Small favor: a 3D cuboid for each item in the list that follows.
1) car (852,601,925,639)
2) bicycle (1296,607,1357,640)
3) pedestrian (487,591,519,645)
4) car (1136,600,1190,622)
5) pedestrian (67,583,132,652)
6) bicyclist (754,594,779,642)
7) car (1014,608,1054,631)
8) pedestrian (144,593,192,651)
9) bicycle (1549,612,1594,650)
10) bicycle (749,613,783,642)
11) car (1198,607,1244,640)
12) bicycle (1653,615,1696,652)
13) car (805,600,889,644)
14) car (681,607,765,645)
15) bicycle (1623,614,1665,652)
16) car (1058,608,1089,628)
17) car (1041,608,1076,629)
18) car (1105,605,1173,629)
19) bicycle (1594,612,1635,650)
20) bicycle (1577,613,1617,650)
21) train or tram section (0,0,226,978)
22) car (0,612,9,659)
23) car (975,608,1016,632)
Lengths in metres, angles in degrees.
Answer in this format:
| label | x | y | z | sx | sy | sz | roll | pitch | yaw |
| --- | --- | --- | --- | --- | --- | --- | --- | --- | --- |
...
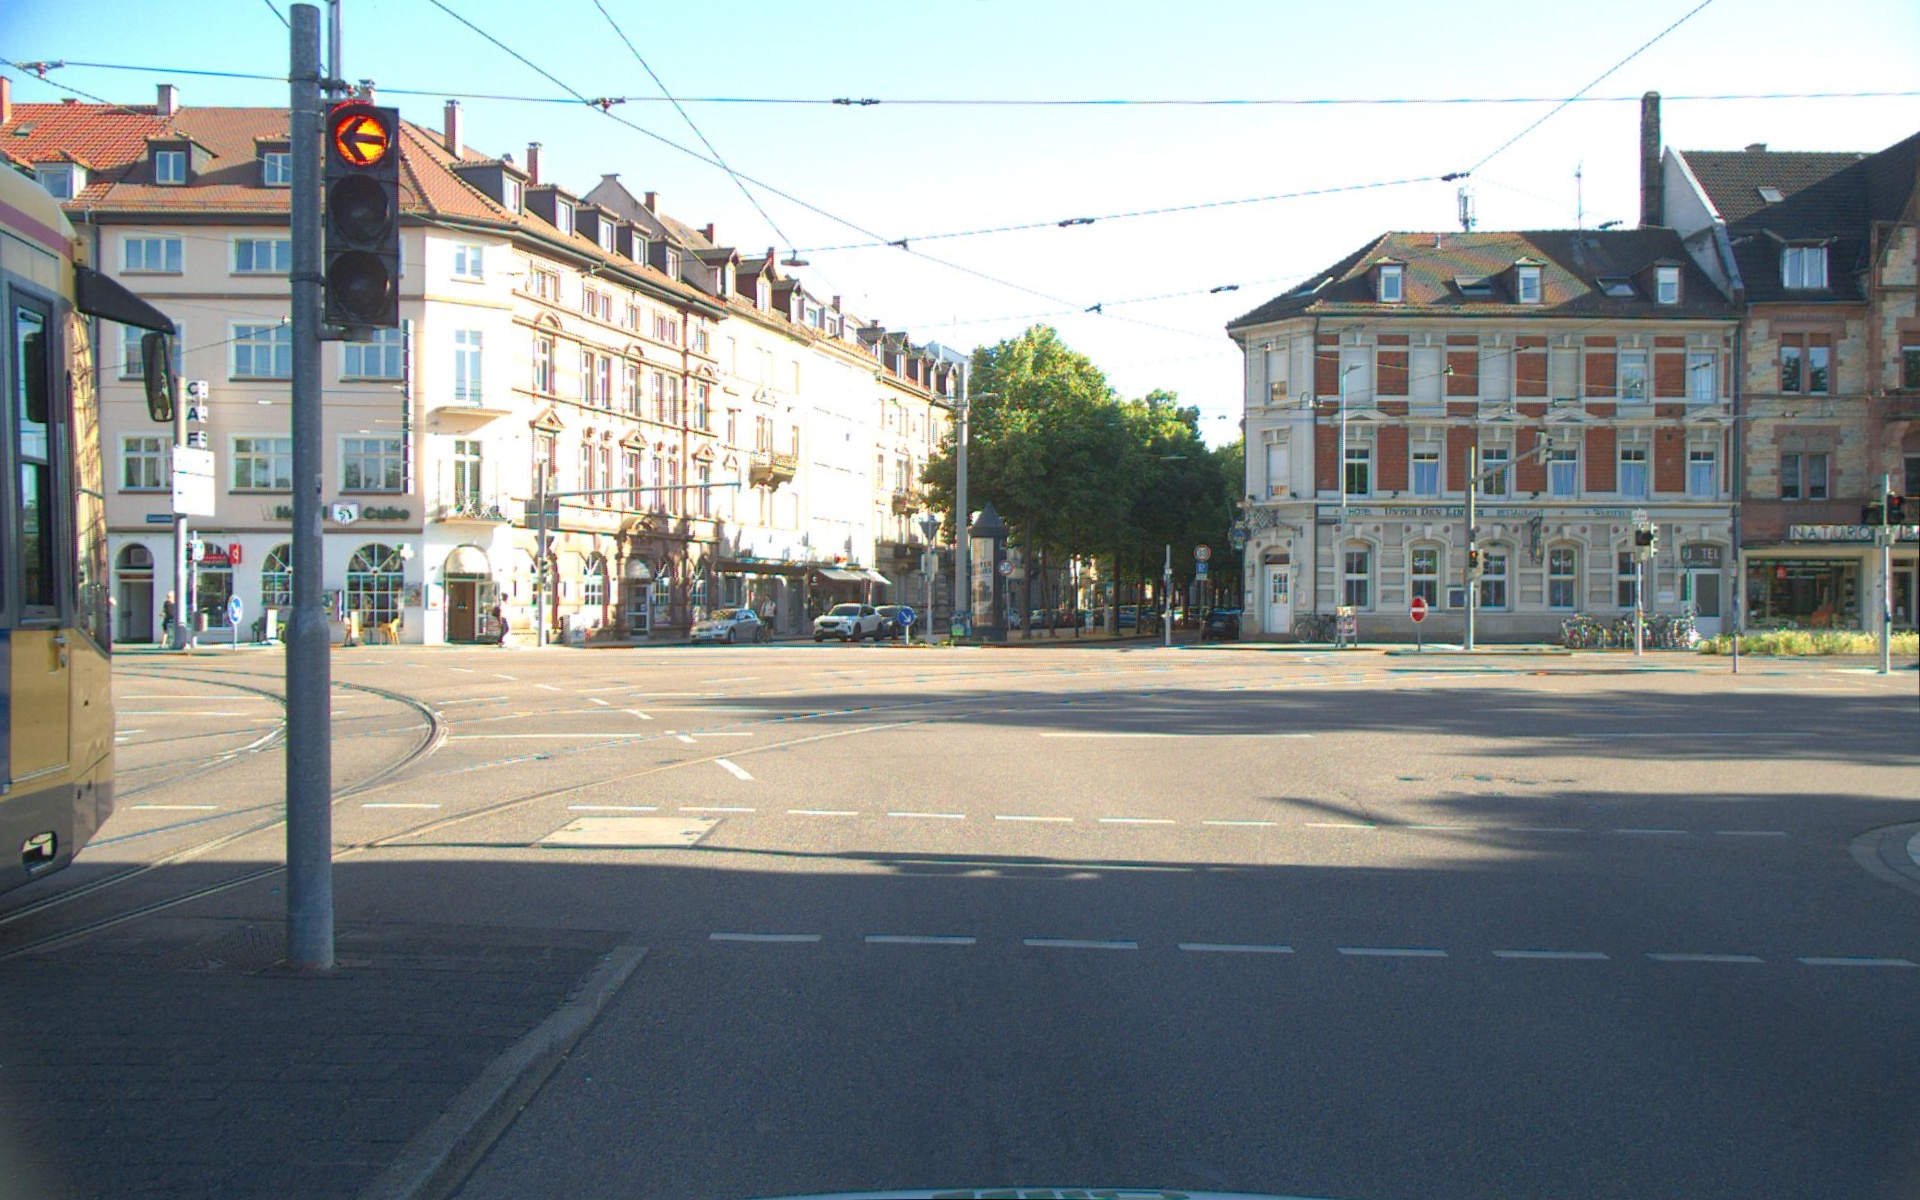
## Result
| label | x | y | z | sx | sy | sz | roll | pitch | yaw |
| --- | --- | --- | --- | --- | --- | --- | --- | --- | --- |
| car | -3.149 | 0.855 | 73.765 | 1.951 | 1.640 | 4.393 | 0 | 0 | 17 |
| bicycle | 12.750 | 0.817 | 57.560 | 2.045 | 1.144 | 0.366 | 1 | -1 | -5 |
| pedestrian | -15.101 | 0.587 | 54.649 | 1.029 | 1.774 | 0.805 | 0 | 0 | -16 |
| car | 16.415 | 0.882 | 133.850 | 3.912 | 1.736 | 1.996 | 0 | 0 | 30 |
| pedestrian | -21.568 | 0.438 | 41.470 | 1.058 | 1.714 | 1.103 | 0 | 0 | -1 |
| bicyclist | -7.586 | 0.687 | 64.908 | 0.664 | 1.852 | 1.071 | 0 | 0 | 12 |
| car | 5.524 | 1.419 | 122.715 | 1.951 | 1.640 | 4.393 | 0 | 0 | 17 |
| pedestrian | -24.893 | 0.672 | 51.983 | 0.985 | 1.806 | 0.942 | 0 | 0 | 14 |
| bicycle | 19.821 | 0.989 | 53.636 | 0.789 | 1.163 | 2.175 | 0 | 0 | 4 |
| bicycle | -7.597 | 1.074 | 64.866 | 0.665 | 1.085 | 2.127 | 0 | 0 | 12 |
| car | 13.068 | 1.157 | 82.611 | 1.951 | 1.613 | 4.003 | 0 | 0 | 13 |
| bicycle | 23.036 | 1.060 | 53.376 | 0.596 | 1.156 | 2.136 | 0 | 0 | 4 |
| car | -4.544 | 0.877 | 67.230 | 1.951 | 1.713 | 4.393 | 0 | 0 | 17 |
| car | -9.527 | 1.027 | 66.876 | 1.858 | 1.481 | 4.002 | 0 | 0 | 17 |
| bicycle | 22.072 | 1.056 | 53.428 | 0.605 | 1.163 | 2.175 | 0 | 0 | 4 |
| car | 9.389 | 1.456 | 136.441 | 1.727 | 1.576 | 4.394 | 0 | 0 | 16 |
| car | 7.777 | 1.417 | 130.540 | 1.798 | 1.579 | 4.393 | 0 | 0 | 16 |
| car | 12.508 | 1.187 | 115.521 | 4.290 | 1.640 | 1.998 | 0 | 0 | 26 |
| bicycle | 21.164 | 0.994 | 53.487 | 0.605 | 1.163 | 2.175 | 0 | 0 | 4 |
| bicycle | 20.592 | 0.999 | 53.517 | 0.605 | 1.163 | 2.175 | 0 | 0 | 4 |
| train or tram section | -4.599 | -0.450 | 1.462 | 2.714 | 3.561 | 12.028 | 0 | 0 | -1 |
| car | -32.399 | 1.129 | 51.922 | 3.907 | 1.478 | 1.999 | 0 | 0 | -3 |
| car | 2.410 | 1.319 | 110.967 | 1.951 | 1.512 | 4.003 | 0 | 0 | 13 |
